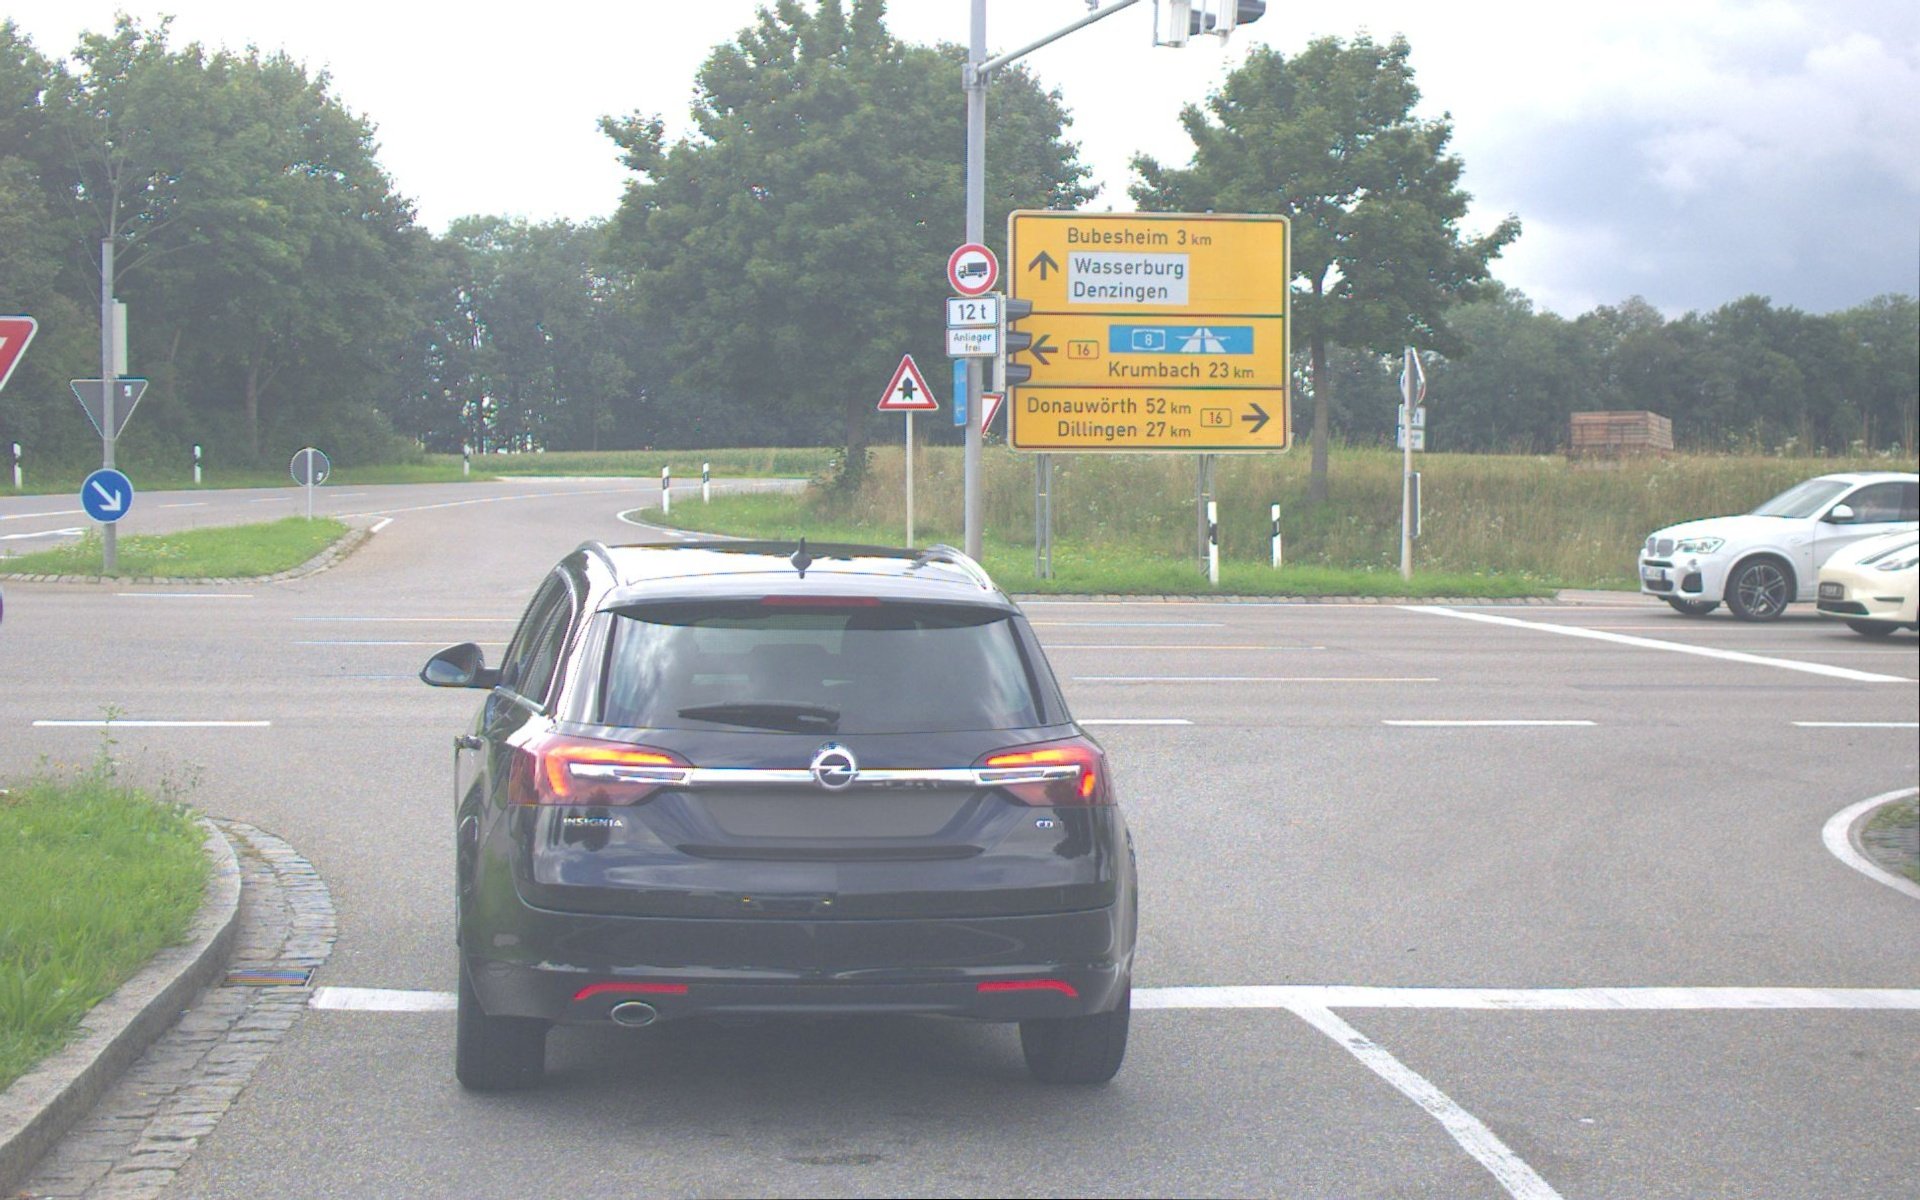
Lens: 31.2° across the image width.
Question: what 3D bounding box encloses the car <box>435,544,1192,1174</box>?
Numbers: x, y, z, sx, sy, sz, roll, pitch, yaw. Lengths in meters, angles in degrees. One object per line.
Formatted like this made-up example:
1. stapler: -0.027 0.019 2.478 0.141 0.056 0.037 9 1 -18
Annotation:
1. car: -0.647 0.589 10.365 1.807 1.446 4.274 1 1 -8

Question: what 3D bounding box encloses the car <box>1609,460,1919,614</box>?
1. car: 9.616 -0.688 38.176 4.259 1.623 2.001 0 1 -13

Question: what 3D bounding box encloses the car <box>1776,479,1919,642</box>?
1. car: 10.823 -0.385 34.429 4.731 1.559 2.001 0 1 -12
